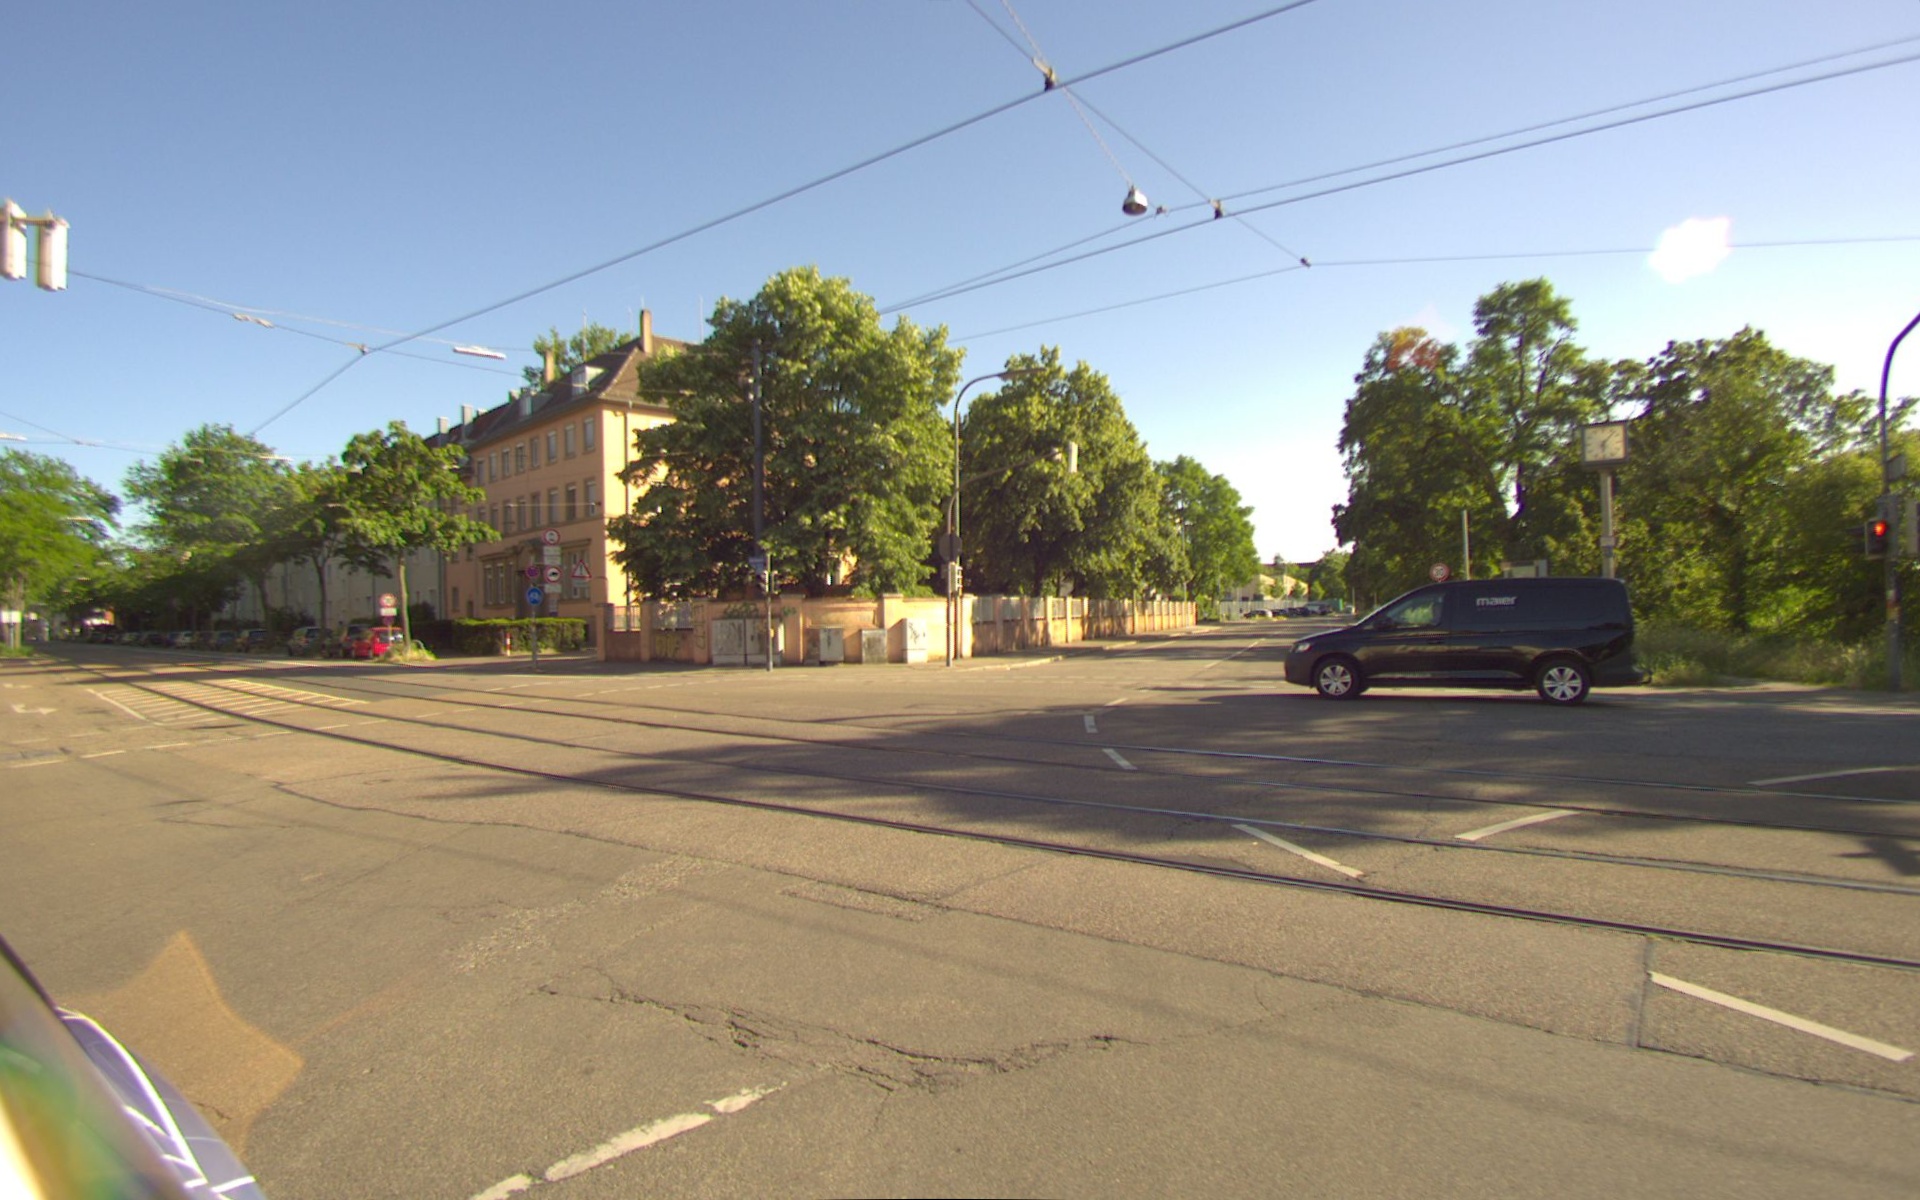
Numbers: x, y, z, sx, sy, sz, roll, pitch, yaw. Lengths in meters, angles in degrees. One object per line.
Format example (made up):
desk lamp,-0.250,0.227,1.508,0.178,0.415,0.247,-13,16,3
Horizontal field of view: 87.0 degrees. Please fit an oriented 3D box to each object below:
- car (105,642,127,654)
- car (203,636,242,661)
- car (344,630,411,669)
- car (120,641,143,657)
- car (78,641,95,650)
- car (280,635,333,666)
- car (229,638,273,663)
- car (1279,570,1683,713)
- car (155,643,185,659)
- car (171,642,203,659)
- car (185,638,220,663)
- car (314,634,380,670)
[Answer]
car,-111.812,6.326,134.068,3.631,1.534,1.791,-3,-2,44
car,-56.356,3.703,77.343,3.796,1.839,1.791,-3,-2,44
car,-27.410,2.336,47.570,3.374,1.719,1.792,-3,-2,42
car,-103.325,6.101,126.168,3.631,1.792,1.791,-3,-2,44
car,-143.095,7.481,165.800,3.631,1.430,1.791,-2,-1,44
car,-36.849,2.840,57.055,1.790,1.671,3.879,0,-2,-44
car,-48.046,3.395,68.596,3.631,1.611,1.791,-3,-2,44
car,7.518,0.560,14.906,5.020,1.780,1.976,-1,-1,35
car,-75.567,4.868,96.817,3.631,1.430,1.791,-3,-2,44
car,-69.198,4.540,90.562,3.631,1.430,1.791,-3,-2,44
car,-62.663,4.132,83.699,3.631,1.955,1.791,-3,-2,44
car,-30.697,2.586,50.645,3.819,1.671,1.792,-3,-2,42
